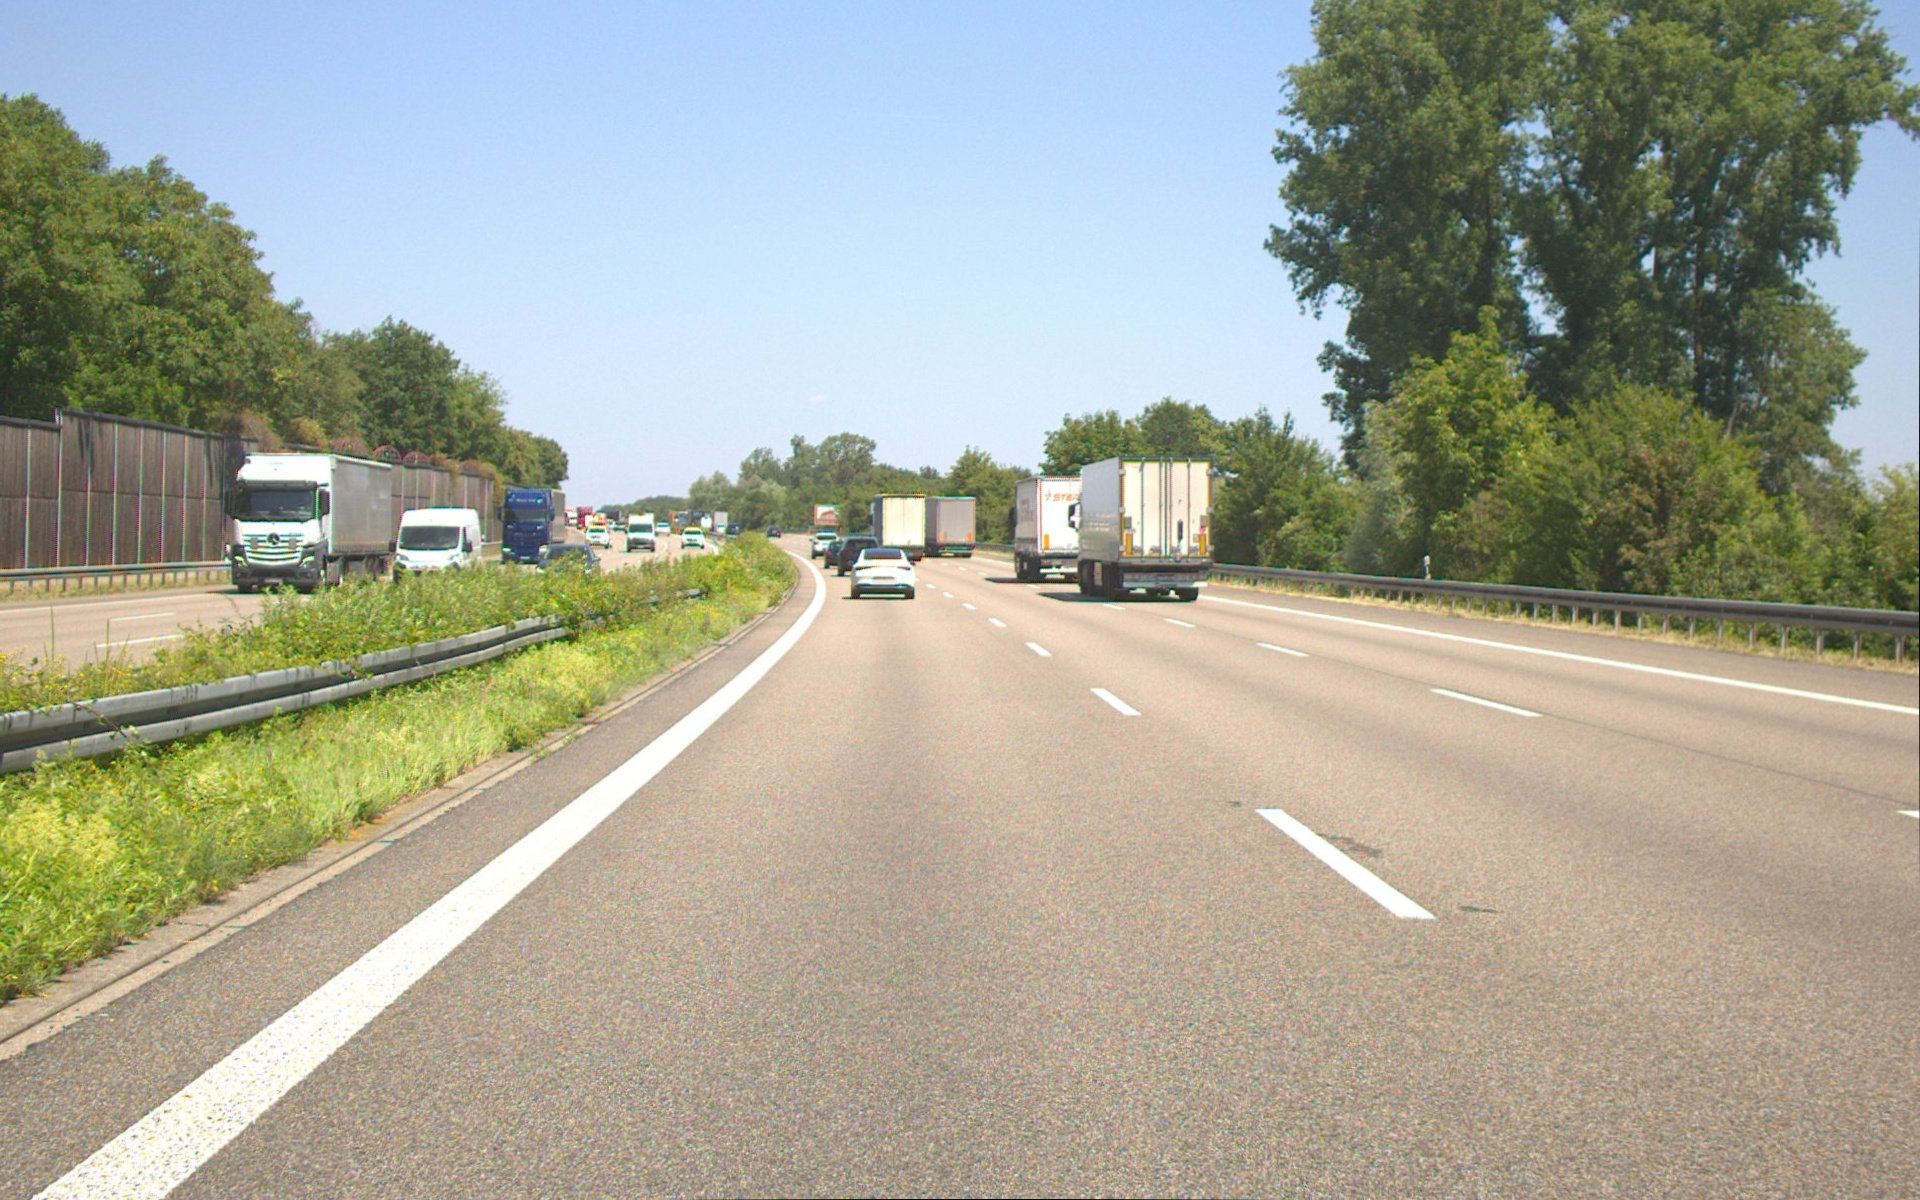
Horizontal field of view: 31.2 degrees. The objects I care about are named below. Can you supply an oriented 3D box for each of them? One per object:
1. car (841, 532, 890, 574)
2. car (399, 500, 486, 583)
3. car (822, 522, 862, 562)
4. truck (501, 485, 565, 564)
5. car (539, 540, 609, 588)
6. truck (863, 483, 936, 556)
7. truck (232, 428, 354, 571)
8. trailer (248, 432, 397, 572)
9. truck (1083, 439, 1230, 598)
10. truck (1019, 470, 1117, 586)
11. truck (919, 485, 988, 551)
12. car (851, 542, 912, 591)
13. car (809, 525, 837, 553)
[{"bbox_3d":[-4.099,-2.058,149.582,1.993,1.766,4.000,1,1,0],"label":"car"},{"bbox_3d":[-15.443,-1.756,102.825,2.080,2.393,6.043,0,1,-4],"label":"car"},{"bbox_3d":[-6.051,-2.991,176.563,1.993,2.007,4.000,1,1,-1],"label":"car"},{"bbox_3d":[-23.062,-4.042,186.083,2.610,4.114,10.282,0,1,-3],"label":"truck"},{"bbox_3d":[-11.664,-1.104,104.177,1.760,1.423,3.935,1,1,-1],"label":"car"},{"bbox_3d":[-3.798,-4.922,212.848,3.579,4.296,12.192,1,1,-5],"label":"truck"},{"bbox_3d":[-19.449,-2.899,100.500,2.502,4.041,6.363,0,1,-2],"label":"truck"},{"bbox_3d":[-19.660,-2.971,106.835,2.504,4.020,13.422,1,1,-2],"label":"trailer"},{"bbox_3d":[5.559,-2.288,99.288,3.492,4.296,10.989,1,1,0],"label":"truck"},{"bbox_3d":[4.148,-2.766,134.656,3.359,4.296,10.829,1,1,0],"label":"truck"},{"bbox_3d":[-0.505,-5.481,232.929,3.829,4.296,11.556,1,1,-4],"label":"truck"},{"bbox_3d":[-2.254,-0.975,99.231,1.715,1.365,3.375,0,1,-1],"label":"car"},{"bbox_3d":[-8.769,-3.926,220.447,1.723,1.777,4.000,1,1,-1],"label":"car"}]
